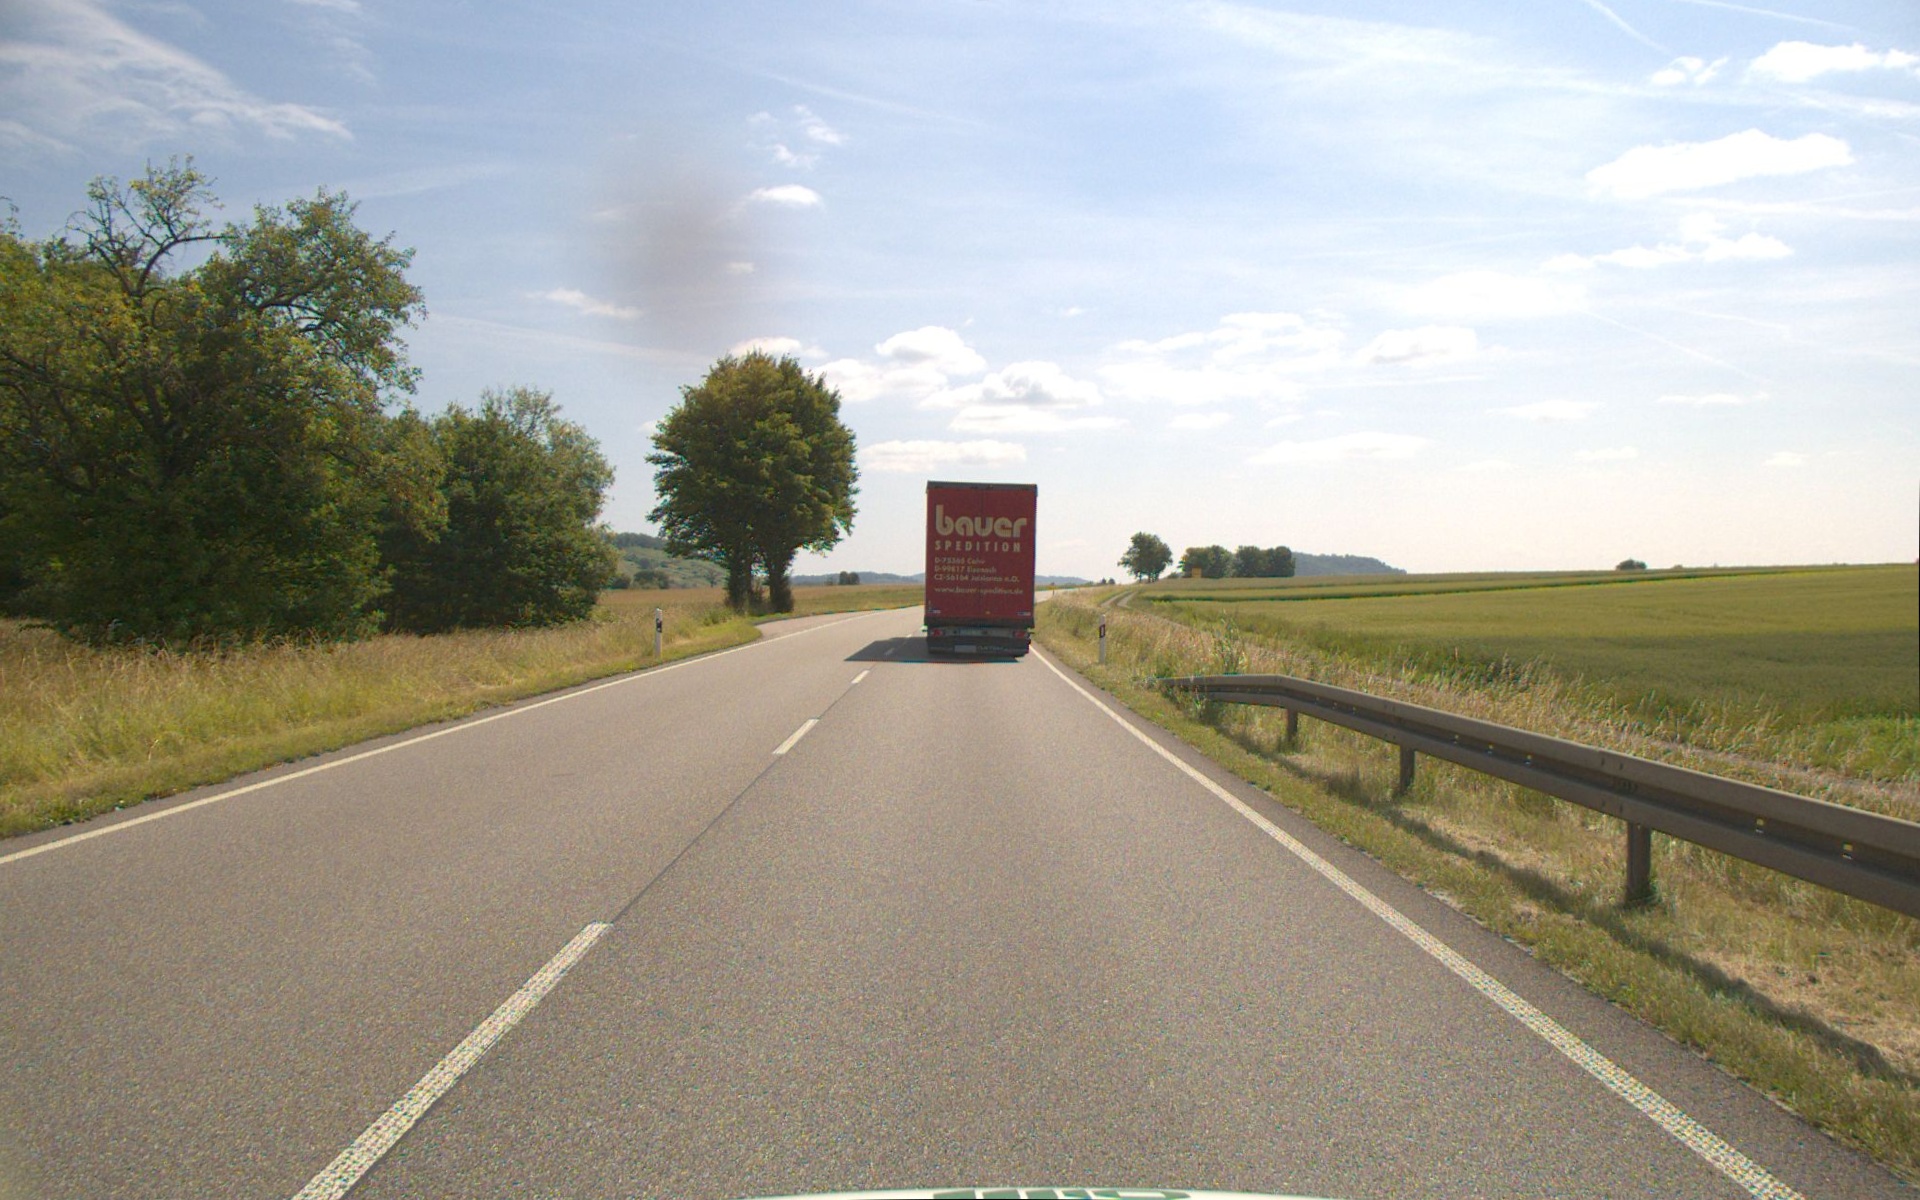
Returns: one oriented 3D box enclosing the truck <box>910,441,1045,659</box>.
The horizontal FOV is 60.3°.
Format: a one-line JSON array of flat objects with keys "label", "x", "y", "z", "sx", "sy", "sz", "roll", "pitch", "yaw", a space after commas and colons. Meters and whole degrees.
[{"label": "truck", "x": 0.262, "y": -1.088, "z": 41.632, "sx": 2.915, "sy": 4.796, "sz": 9.362, "roll": 1, "pitch": 0, "yaw": -2}]
